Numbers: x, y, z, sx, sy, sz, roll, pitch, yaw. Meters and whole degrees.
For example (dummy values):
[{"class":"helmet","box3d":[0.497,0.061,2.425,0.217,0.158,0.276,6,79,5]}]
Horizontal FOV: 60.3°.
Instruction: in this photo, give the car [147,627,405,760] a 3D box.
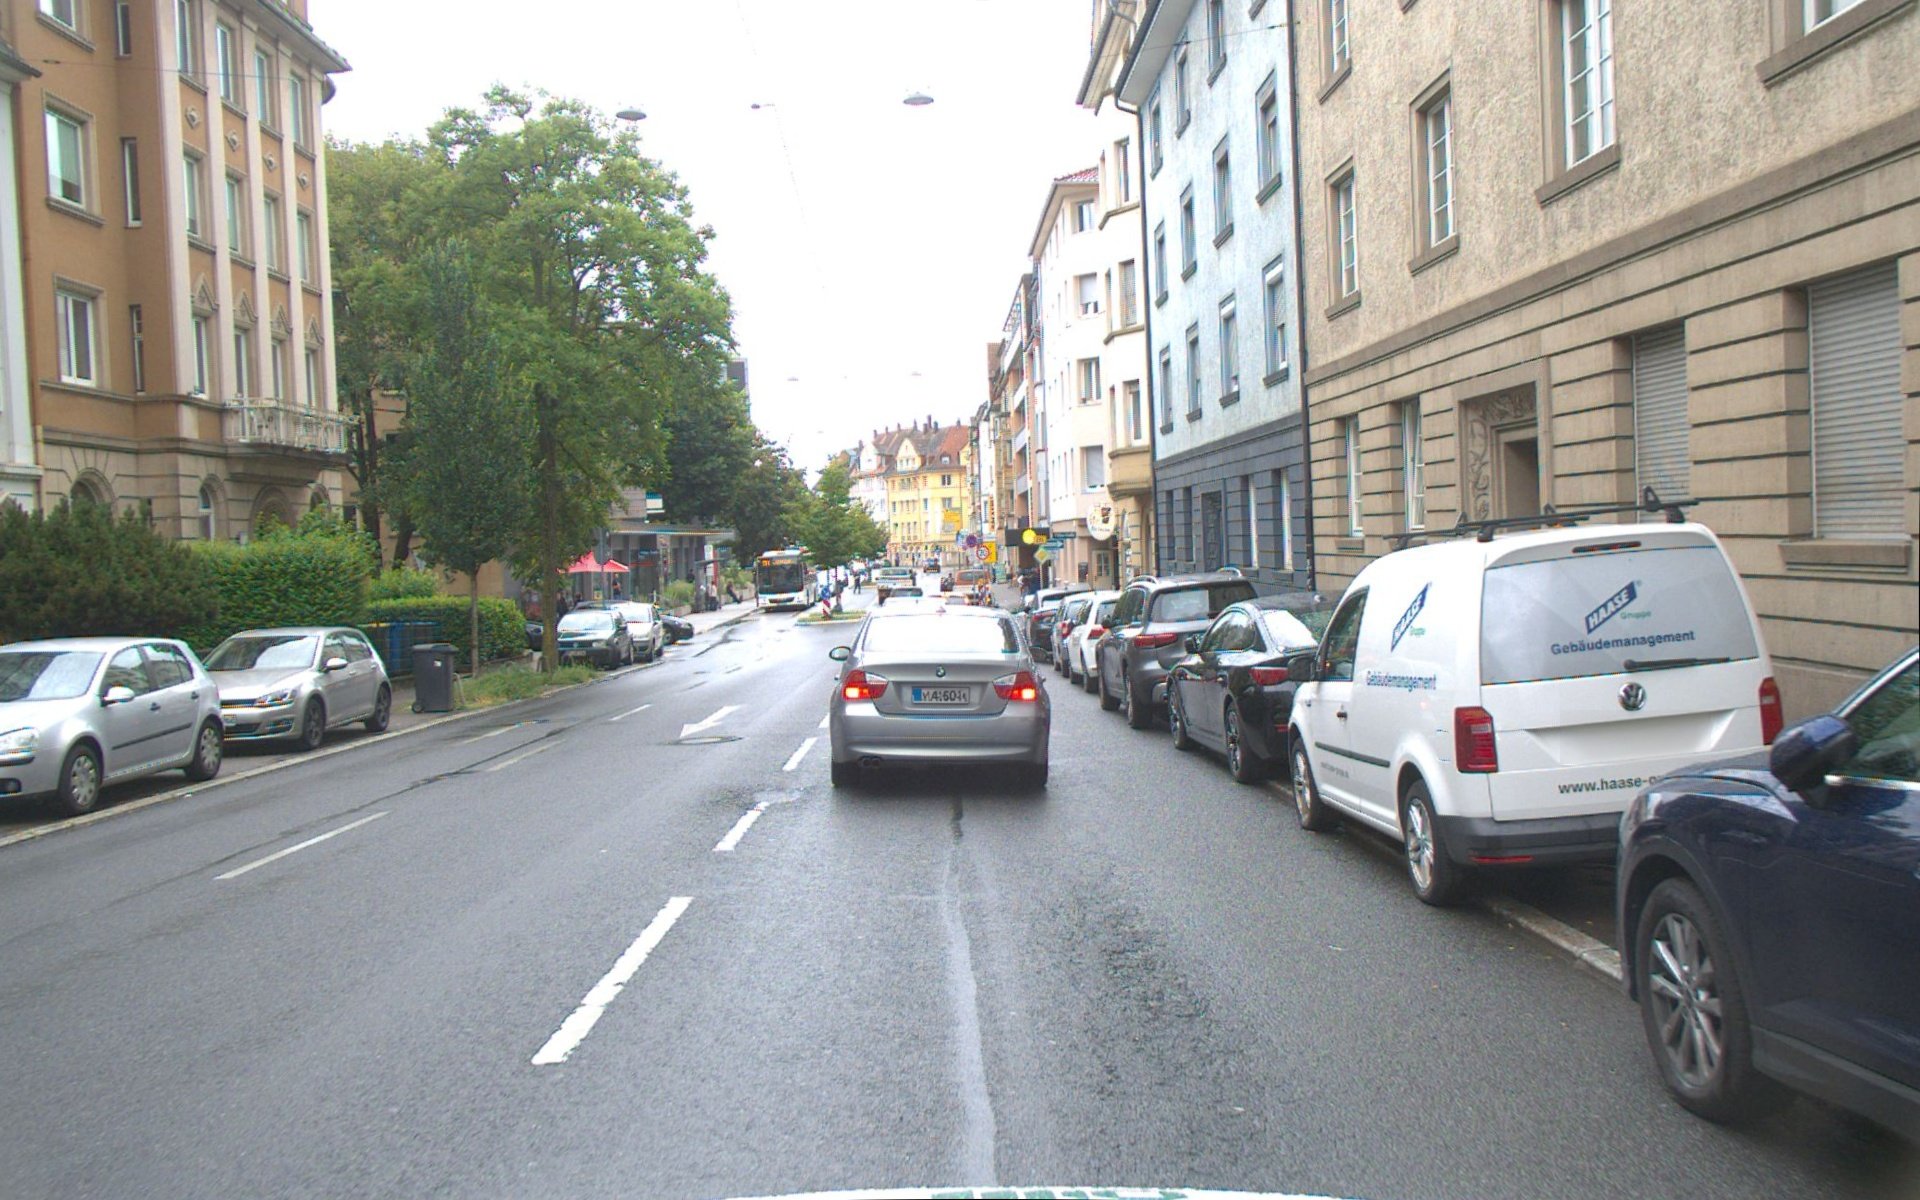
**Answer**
[{"class":"car","box3d":[-8.531,1.107,20.999,1.648,1.414,3.935,-1,0,-1]}]

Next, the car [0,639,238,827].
[{"class":"car","box3d":[-8.344,1.130,15.289,1.648,1.414,3.908,-1,0,-1]}]

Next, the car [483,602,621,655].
[{"class":"car","box3d":[-12.488,0.853,50.817,3.737,1.414,1.743,-2,2,1]}]

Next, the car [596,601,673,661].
[{"class":"car","box3d":[-8.778,0.801,44.883,1.600,1.479,3.835,-2,0,-5]}]

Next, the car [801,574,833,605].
[{"class":"car","box3d":[-9.905,-0.691,114.542,1.953,2.049,3.998,1,-1,-2]}]

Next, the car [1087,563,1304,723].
[{"class":"car","box3d":[2.737,0.477,20.184,1.804,1.649,4.206,-3,0,-2]}]

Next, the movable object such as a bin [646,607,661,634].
[{"class":"movable object such as a bin","box3d":[-12.835,0.865,69.222,0.480,1.100,0.606,-3,-1,-1]}]

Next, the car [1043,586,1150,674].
[{"class":"car","box3d":[2.542,0.518,31.469,1.551,1.454,3.594,-5,0,-2]}]

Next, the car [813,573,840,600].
[{"class":"car","box3d":[-10.483,-1.053,130.281,1.953,2.049,3.998,1,-1,-2]}]

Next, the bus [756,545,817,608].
[{"class":"bus","box3d":[-9.759,-1.204,94.147,2.627,3.257,11.949,1,-1,-2]}]

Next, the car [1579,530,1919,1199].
[{"class":"car","box3d":[3.028,0.582,3.467,1.754,1.575,4.225,-3,0,-1]}]

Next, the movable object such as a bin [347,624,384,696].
[{"class":"movable object such as a bin","box3d":[-11.295,1.124,31.422,0.430,1.322,0.650,-2,0,-2]}]

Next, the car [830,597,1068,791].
[{"class":"car","box3d":[-0.117,0.700,13.578,1.720,1.386,3.163,0,-1,-2]}]

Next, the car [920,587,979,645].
[{"class":"car","box3d":[-0.251,0.417,41.733,1.406,1.380,3.762,1,-1,0]}]

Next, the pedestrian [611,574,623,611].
[{"class":"pedestrian","box3d":[-16.966,-0.349,81.877,0.455,1.821,0.544,1,-1,-2]}]

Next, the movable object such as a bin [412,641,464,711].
[{"class":"movable object such as a bin","box3d":[-8.296,1.203,26.299,0.617,1.076,0.600,-2,-1,-1]}]

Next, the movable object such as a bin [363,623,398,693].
[{"class":"movable object such as a bin","box3d":[-11.359,1.125,32.442,0.430,1.331,0.650,-2,0,-2]}]

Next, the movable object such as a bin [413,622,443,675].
[{"class":"movable object such as a bin","box3d":[-11.407,1.035,35.453,0.430,1.100,0.589,-2,0,-2]}]

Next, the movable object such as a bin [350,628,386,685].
[{"class":"movable object such as a bin","box3d":[-11.332,1.076,31.666,0.430,1.057,0.650,-2,0,-2]}]

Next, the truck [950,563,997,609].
[{"class":"truck","box3d":[0.670,-0.653,81.025,2.170,2.154,4.652,2,0,0]}]

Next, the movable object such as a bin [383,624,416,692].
[{"class":"movable object such as a bin","box3d":[-11.298,1.167,33.342,0.430,1.331,0.609,-2,0,-2]}]

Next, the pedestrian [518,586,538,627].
[{"class":"pedestrian","box3d":[-19.804,0.281,75.882,0.629,1.847,0.629,-3,1,-39]}]

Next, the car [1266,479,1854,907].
[{"class":"car","box3d":[3.132,0.409,9.616,1.754,1.849,4.079,-3,0,-2]}]

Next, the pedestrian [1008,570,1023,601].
[{"class":"pedestrian","box3d":[3.047,-0.783,91.014,0.733,1.690,0.837,1,-1,5]}]

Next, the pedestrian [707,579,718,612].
[{"class":"pedestrian","box3d":[-13.192,-0.239,88.277,0.532,1.739,0.465,1,-1,-8]}]

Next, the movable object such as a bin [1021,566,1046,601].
[{"class":"movable object such as a bin","box3d":[3.906,-0.873,88.243,1.100,1.732,1.433,-3,-1,-4]}]

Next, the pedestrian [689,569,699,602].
[{"class":"pedestrian","box3d":[-14.724,-0.797,91.651,0.533,1.821,0.507,1,-1,-10]}]

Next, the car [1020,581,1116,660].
[{"class":"car","box3d":[2.402,0.439,37.769,1.781,1.585,4.292,-4,0,-1]}]

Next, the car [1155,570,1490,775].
[{"class":"car","box3d":[3.043,0.550,14.865,1.804,1.433,4.386,-4,0,-2]}]

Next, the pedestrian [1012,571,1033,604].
[{"class":"pedestrian","box3d":[3.228,-0.631,85.440,0.745,1.690,0.744,2,-1,-38]}]

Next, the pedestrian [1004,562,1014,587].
[{"class":"pedestrian","box3d":[3.265,-1.703,110.842,0.602,1.690,0.755,1,-1,5]}]

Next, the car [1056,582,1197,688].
[{"class":"car","box3d":[2.612,0.510,26.782,1.695,1.454,3.972,-5,0,-2]}]

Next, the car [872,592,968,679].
[{"class":"car","box3d":[-0.763,0.613,29.568,1.570,1.445,3.285,1,-1,-4]}]

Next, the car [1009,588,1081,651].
[{"class":"car","box3d":[2.182,0.481,43.286,1.537,1.489,4.088,-4,0,-1]}]

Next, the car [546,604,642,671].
[{"class":"car","box3d":[-8.913,0.872,40.509,1.621,1.479,3.940,-2,0,-3]}]

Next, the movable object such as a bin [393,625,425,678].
[{"class":"movable object such as a bin","box3d":[-11.350,1.052,34.067,0.417,1.059,0.650,-2,0,-2]}]

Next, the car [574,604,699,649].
[{"class":"car","box3d":[-10.449,0.855,53.645,3.739,1.414,1.742,-1,-1,-2]}]

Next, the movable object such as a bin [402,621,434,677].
[{"class":"movable object such as a bin","box3d":[-11.392,1.025,34.773,0.430,1.150,0.657,-2,0,-2]}]

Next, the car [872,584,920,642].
[{"class":"car","box3d":[-2.384,0.501,61.098,1.671,2.049,3.997,1,-1,-4]}]

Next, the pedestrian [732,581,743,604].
[{"class":"pedestrian","box3d":[-13.969,-0.454,103.805,0.607,1.402,0.544,1,-1,0]}]

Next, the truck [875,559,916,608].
[{"class":"truck","box3d":[-3.596,-0.893,92.222,2.172,2.589,4.777,1,-1,-2]}]
